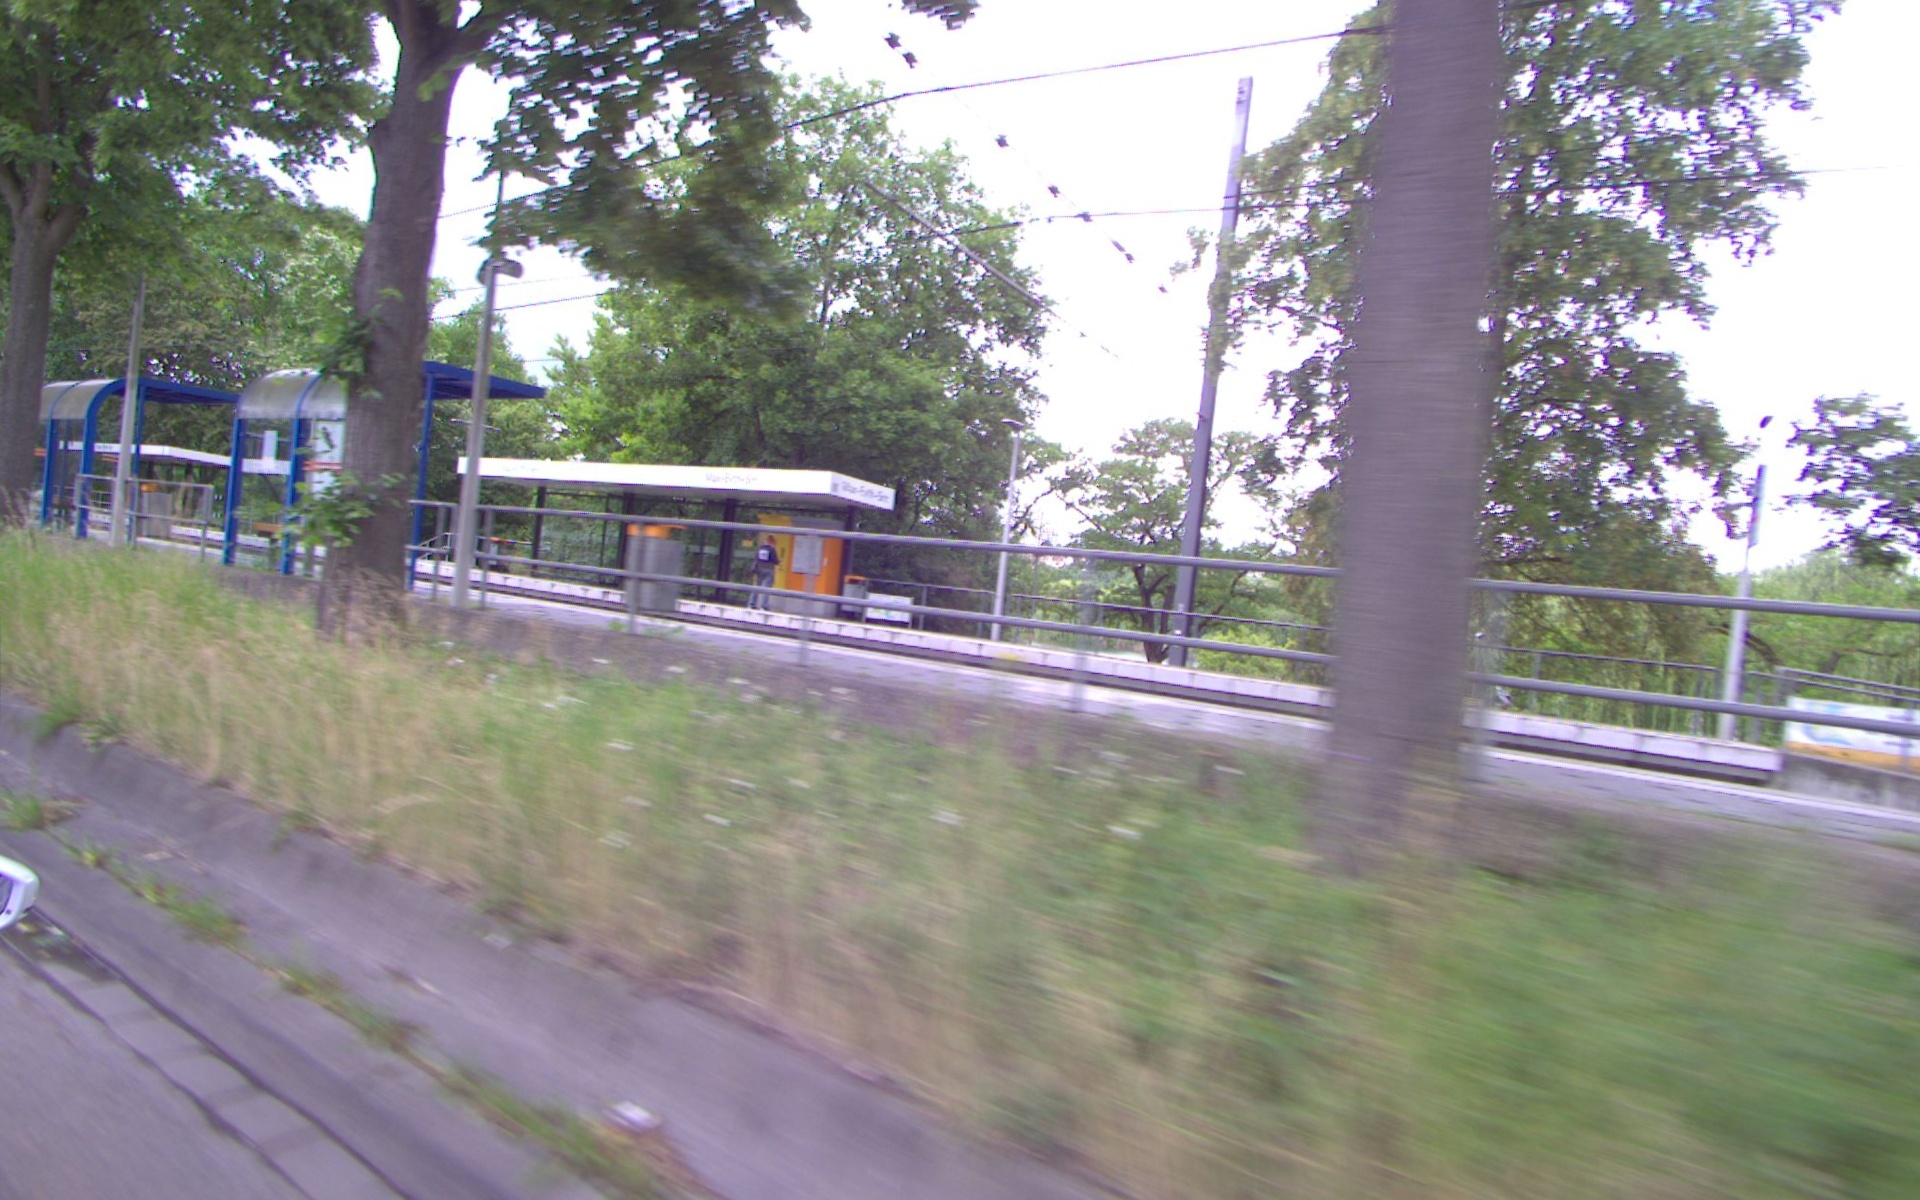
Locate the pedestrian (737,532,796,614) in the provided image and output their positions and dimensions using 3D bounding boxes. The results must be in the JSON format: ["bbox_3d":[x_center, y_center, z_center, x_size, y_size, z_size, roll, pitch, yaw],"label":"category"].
[{"bbox_3d":[-3.932,-0.541,20.416,0.712,1.529,0.719,6,-1,35],"label":"pedestrian"}]
